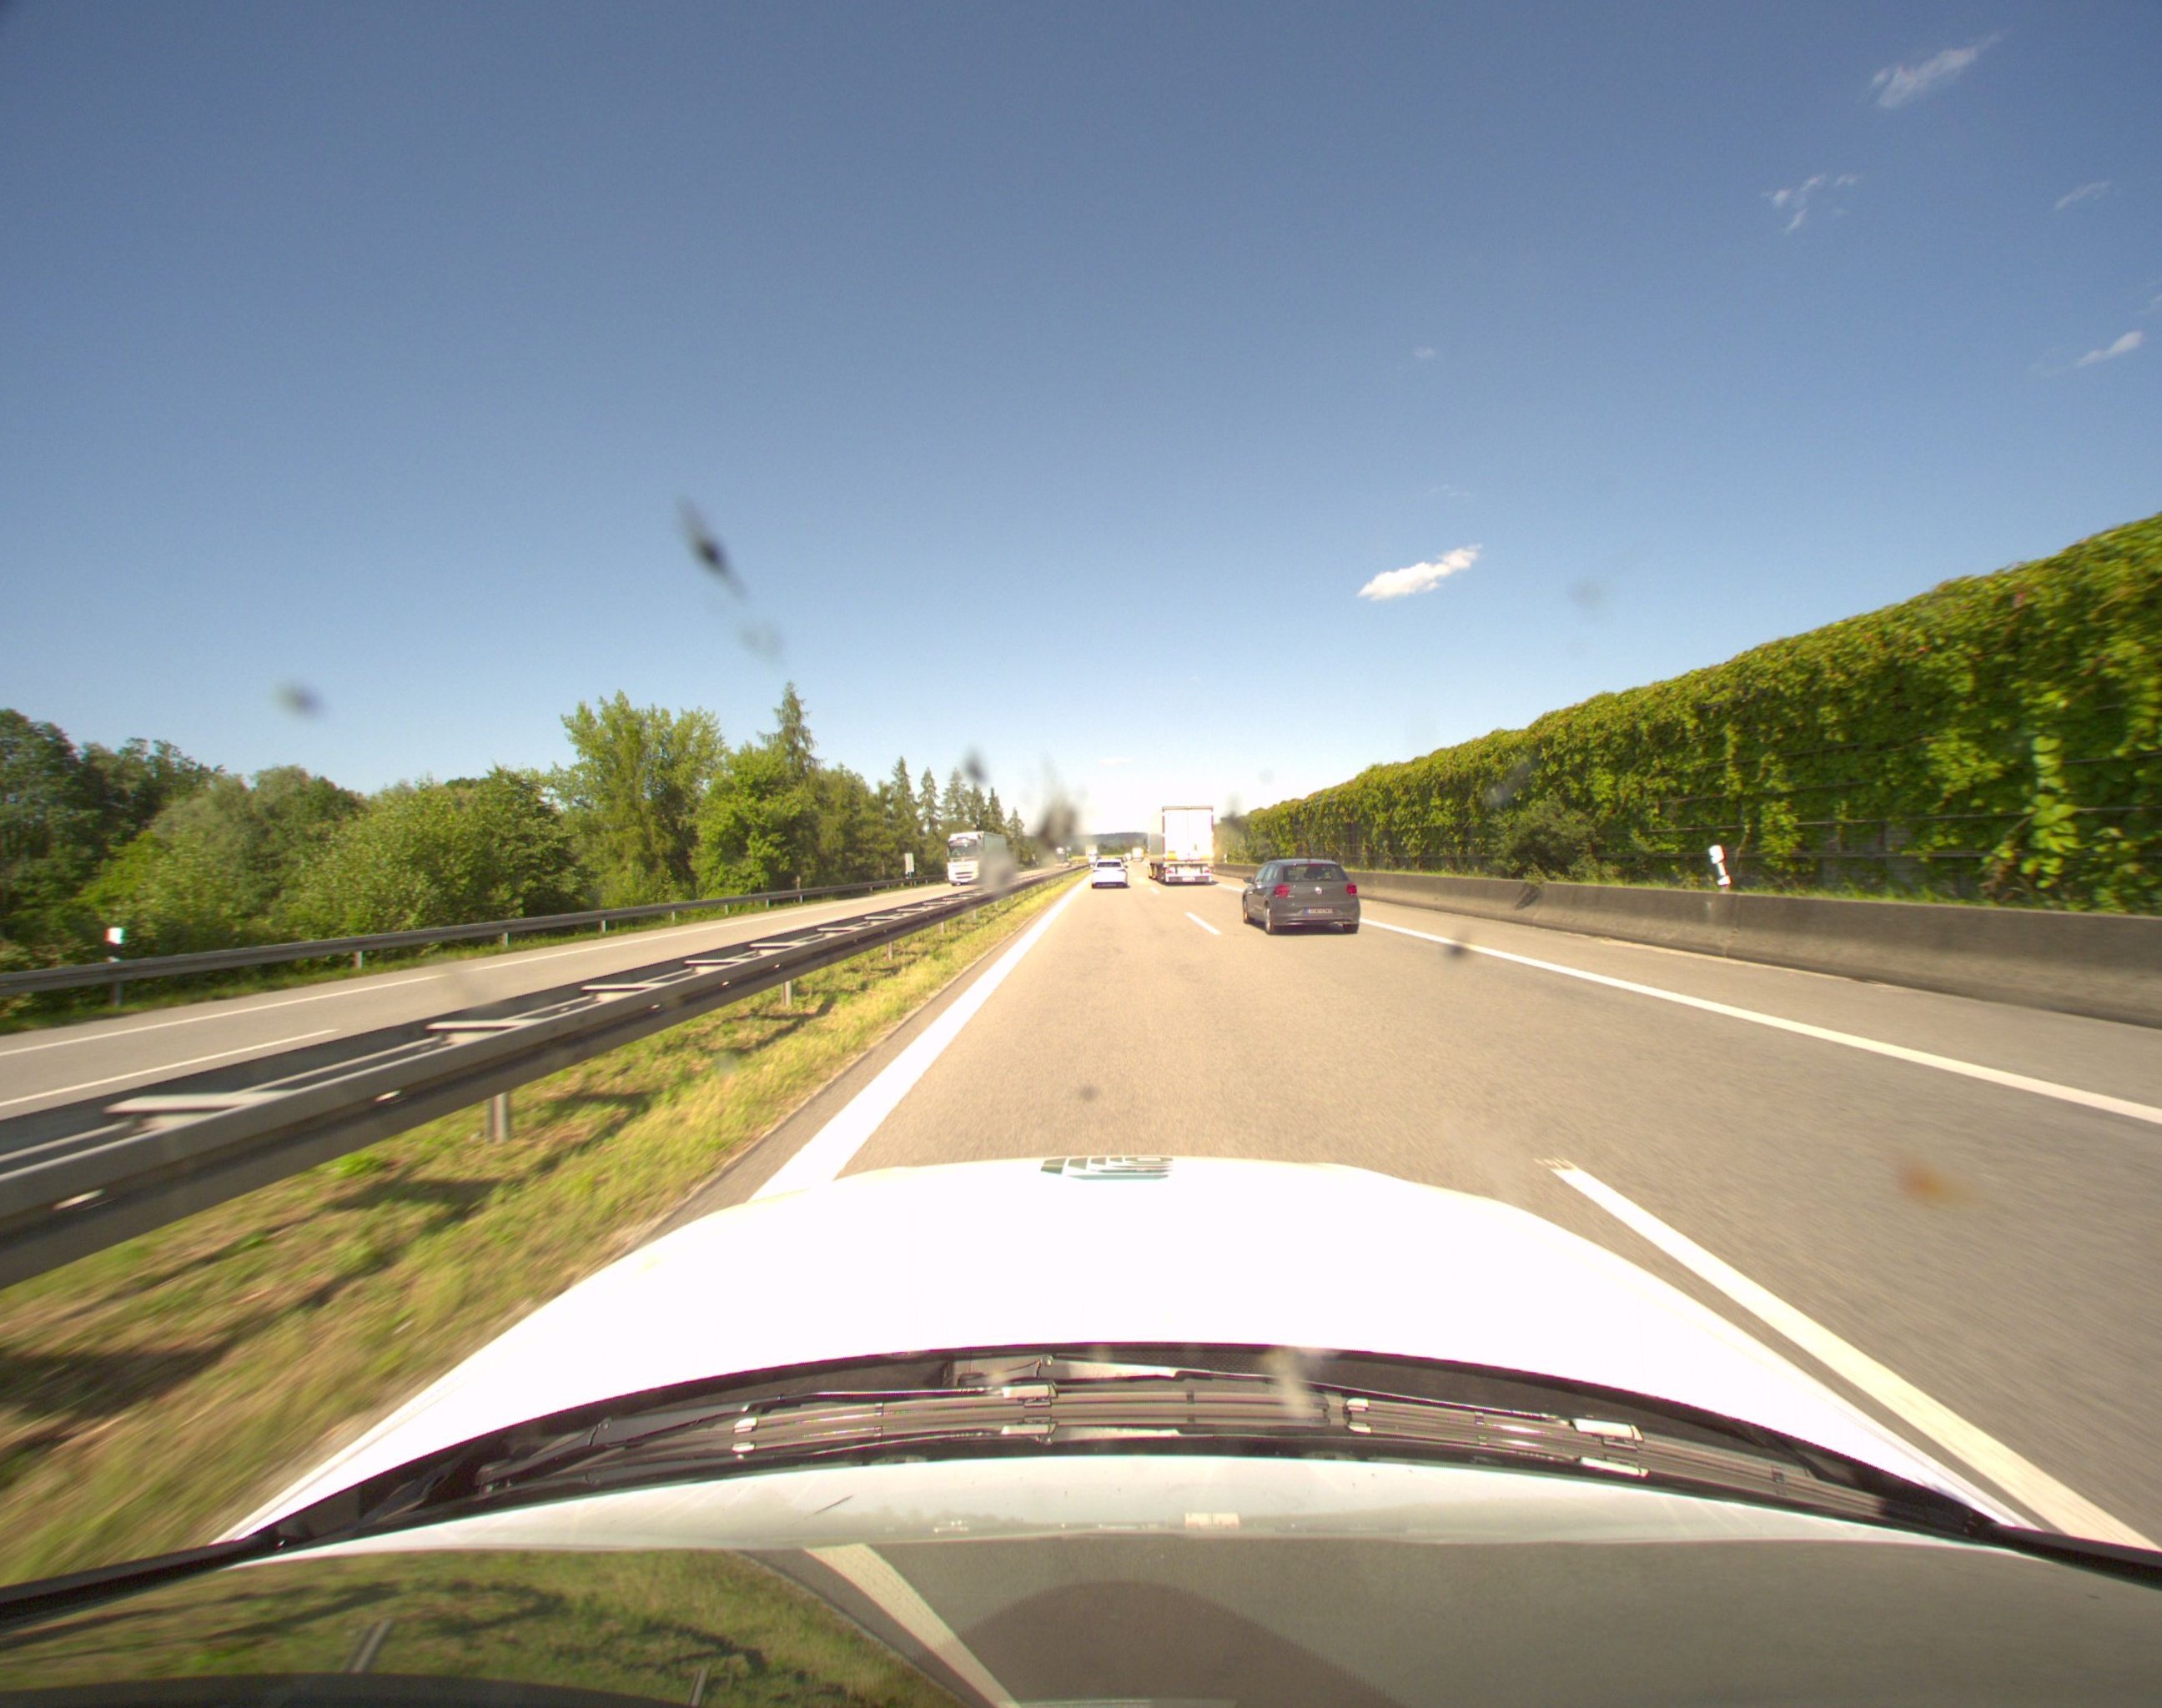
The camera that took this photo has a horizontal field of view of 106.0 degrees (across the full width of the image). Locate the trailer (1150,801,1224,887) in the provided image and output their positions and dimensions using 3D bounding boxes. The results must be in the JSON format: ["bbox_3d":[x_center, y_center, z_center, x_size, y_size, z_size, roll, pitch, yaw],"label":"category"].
[{"bbox_3d":[5.664,-0.455,45.916,2.807,3.966,14.168,-2,0,2],"label":"trailer"}]

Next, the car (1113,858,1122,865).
[{"bbox_3d":[7.597,1.504,171.136,1.765,1.421,4.495,-1,0,1],"label":"car"}]

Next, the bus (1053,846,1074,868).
[{"bbox_3d":[-3.312,0.552,160.845,2.925,4.054,14.677,-3,0,2],"label":"bus"}]

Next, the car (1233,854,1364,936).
[{"bbox_3d":[4.378,0.757,17.069,1.659,1.454,4.546,-1,0,2],"label":"car"}]

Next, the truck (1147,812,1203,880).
[{"bbox_3d":[5.952,-0.462,52.679,2.829,3.966,7.047,-3,0,2],"label":"truck"}]

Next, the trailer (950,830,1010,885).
[{"bbox_3d":[-8.287,0.308,68.882,2.651,4.008,14.092,-3,0,2],"label":"trailer"}]

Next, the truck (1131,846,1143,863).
[{"bbox_3d":[16.503,0.138,240.448,3.139,4.612,8.913,-2,0,3],"label":"truck"}]

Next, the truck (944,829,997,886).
[{"bbox_3d":[-8.497,0.280,63.535,2.634,4.008,7.196,-3,0,2],"label":"truck"}]

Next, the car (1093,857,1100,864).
[{"bbox_3d":[4.342,1.928,230.603,1.747,1.849,5.015,-4,0,3],"label":"car"}]

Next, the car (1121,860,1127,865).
[{"bbox_3d":[12.404,2.376,234.050,1.764,1.421,4.367,-1,0,3],"label":"car"}]

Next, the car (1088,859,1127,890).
[{"bbox_3d":[1.354,0.969,41.304,1.833,1.421,5.256,-1,0,2],"label":"car"}]
